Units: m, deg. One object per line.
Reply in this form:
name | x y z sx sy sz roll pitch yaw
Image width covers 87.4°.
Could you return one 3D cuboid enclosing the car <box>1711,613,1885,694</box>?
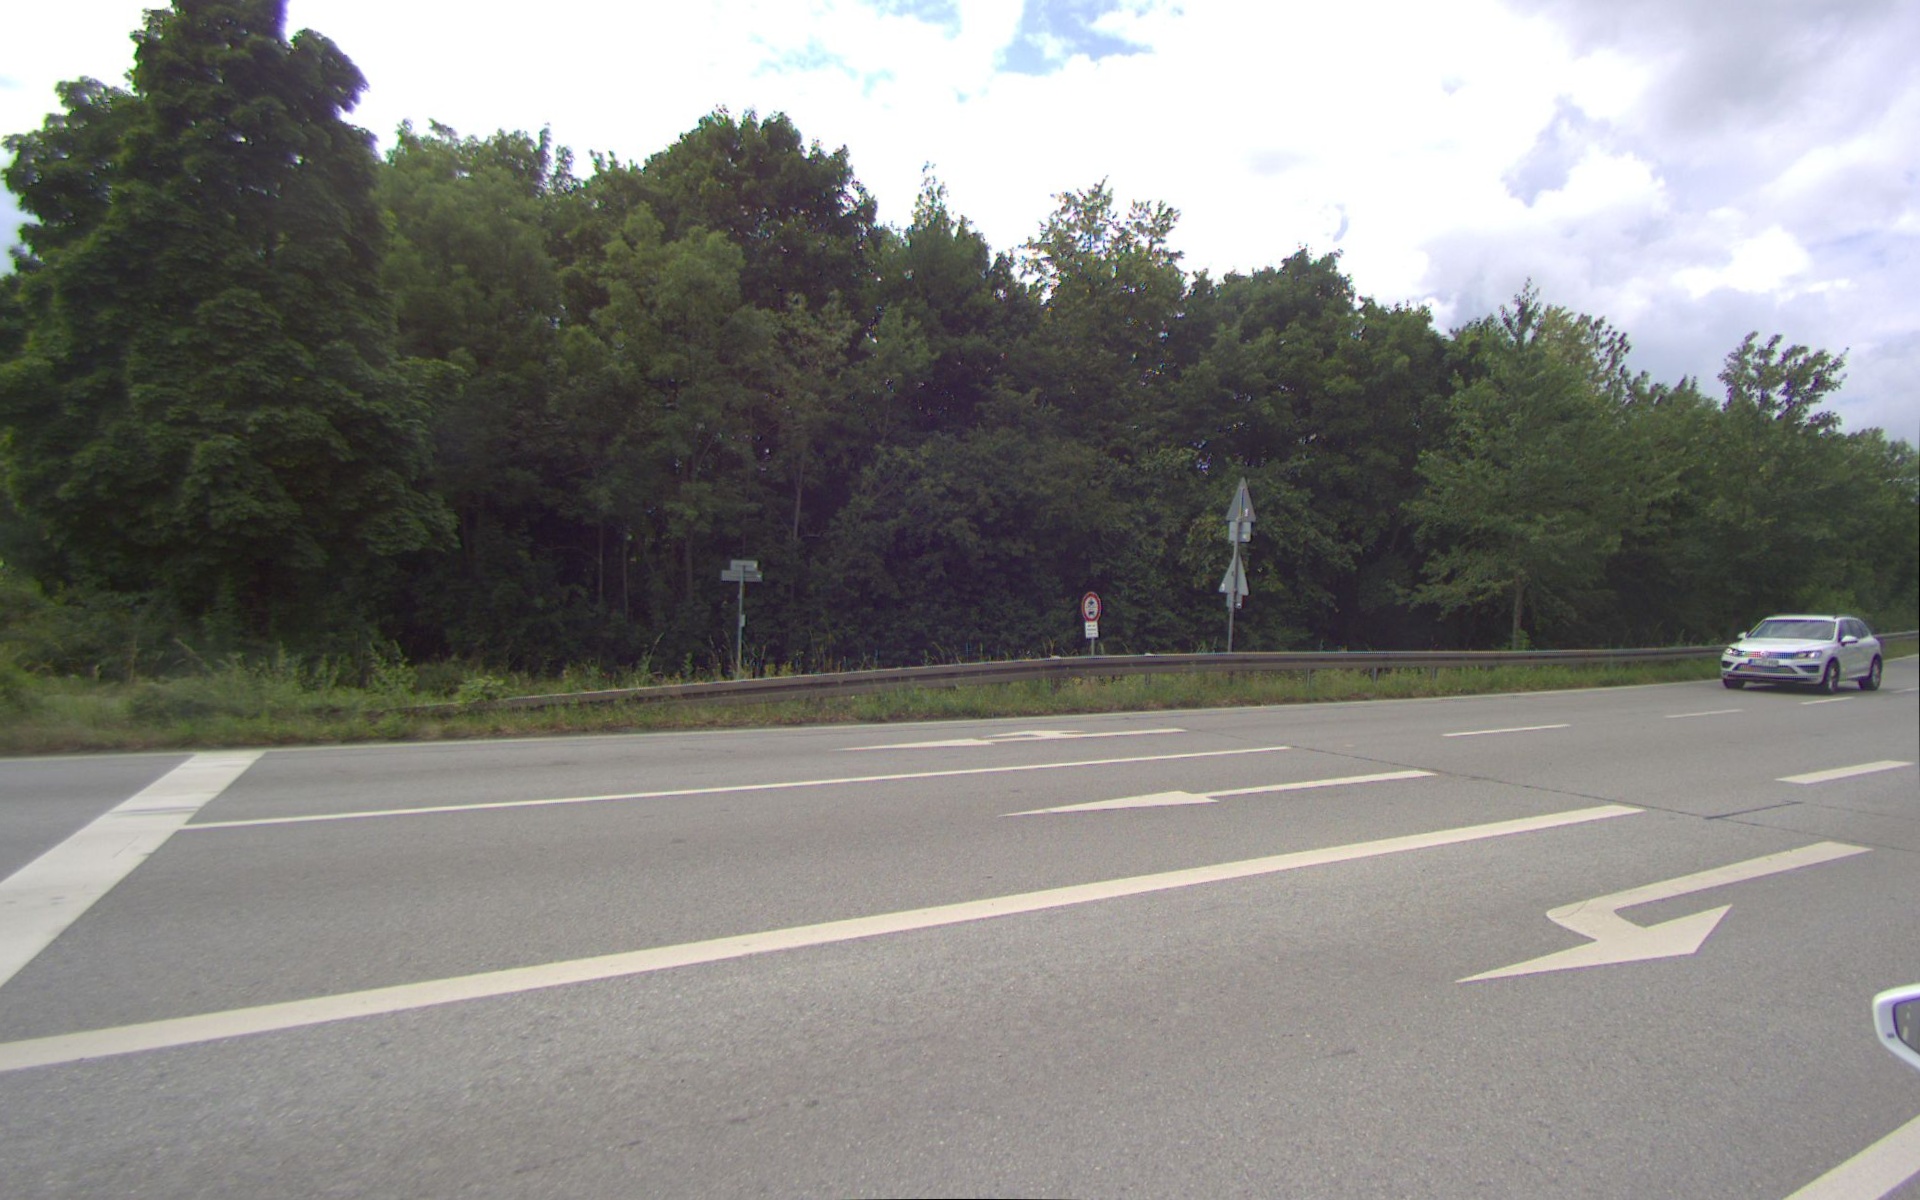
car | 19.248 1.150 23.014 4.688 1.665 1.846 1 0 -34
